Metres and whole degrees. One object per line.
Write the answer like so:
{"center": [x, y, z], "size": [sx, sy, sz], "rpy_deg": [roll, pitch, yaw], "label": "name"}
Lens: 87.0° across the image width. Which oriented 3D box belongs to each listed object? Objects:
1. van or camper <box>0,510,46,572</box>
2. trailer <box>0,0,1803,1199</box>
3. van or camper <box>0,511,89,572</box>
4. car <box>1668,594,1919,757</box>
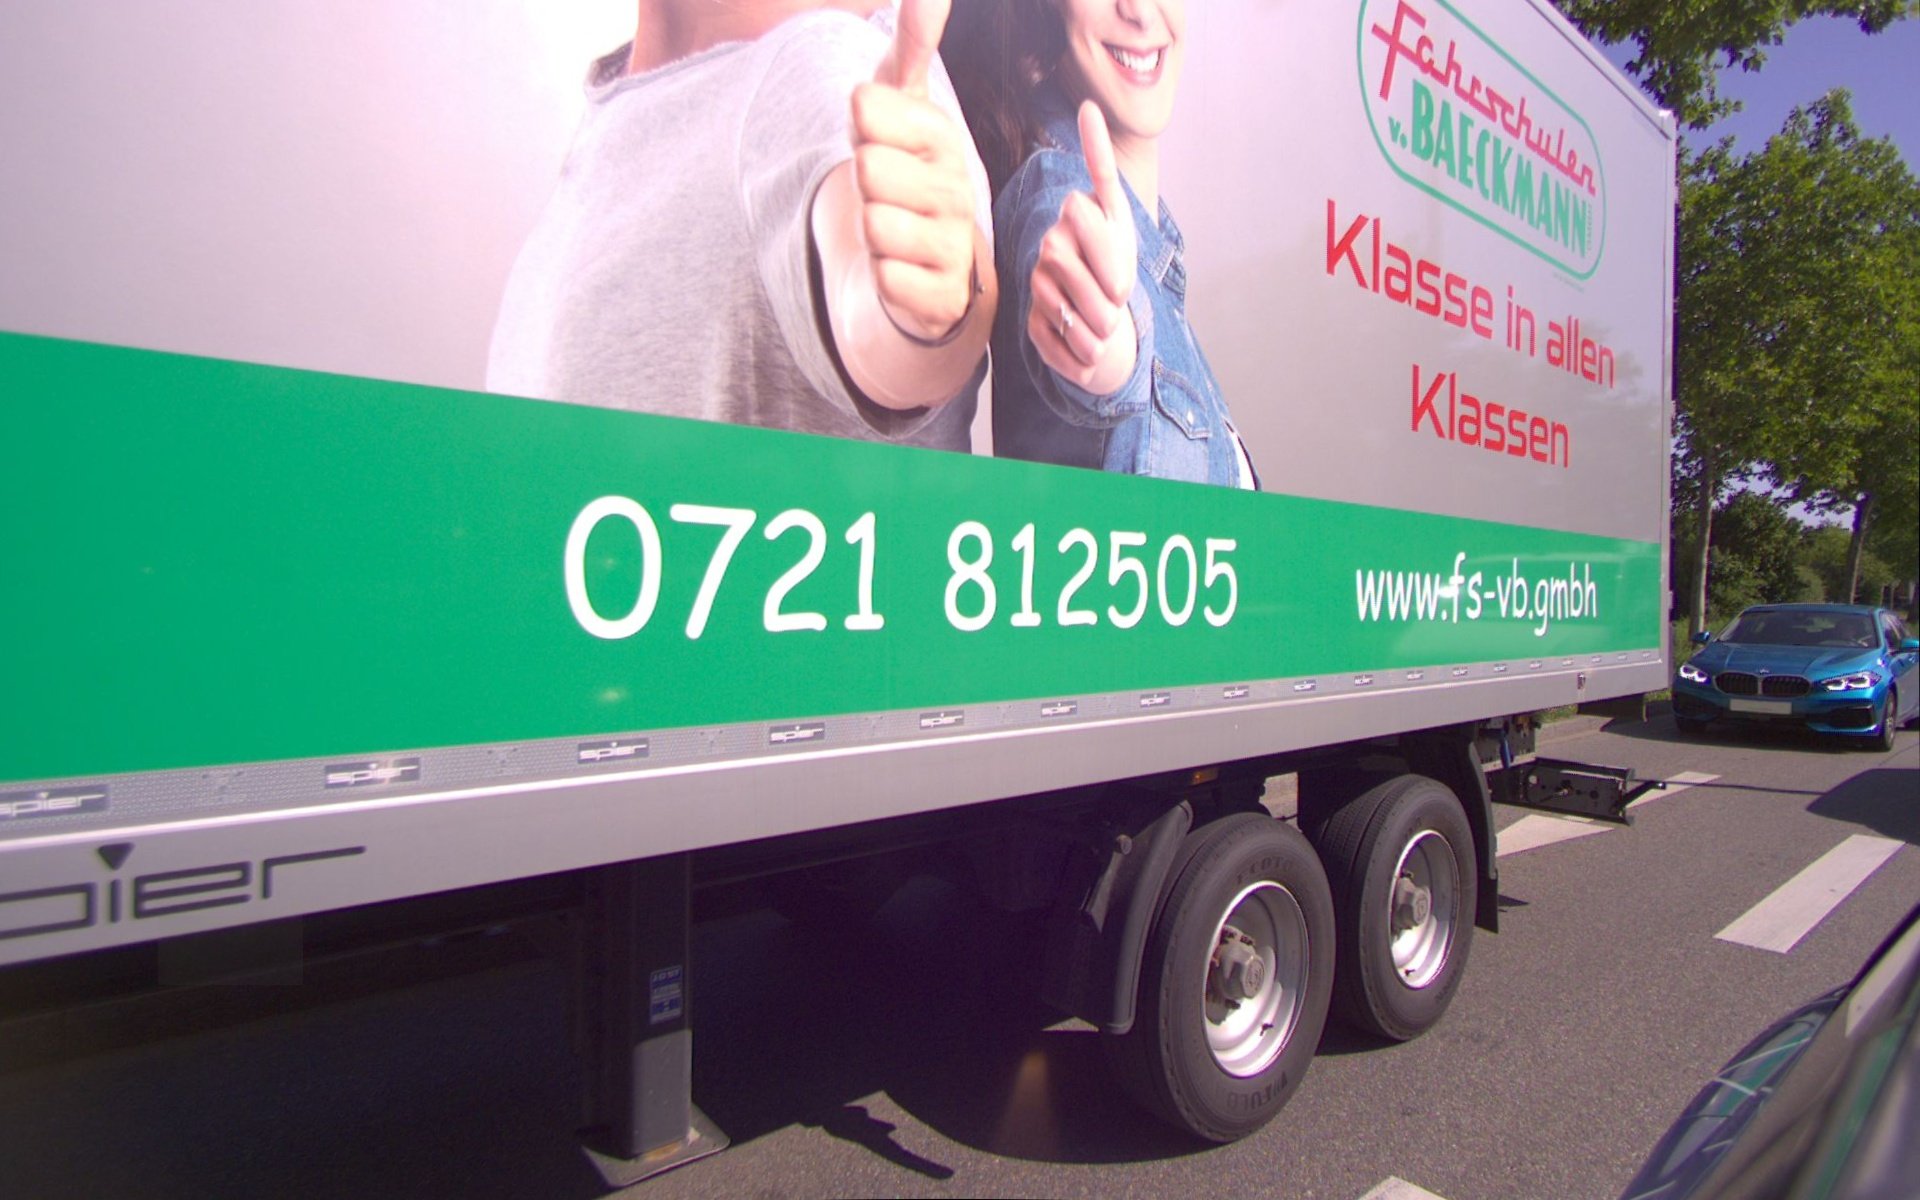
{"center": [-48.776, -2.926, 48.670], "size": [1.971, 2.979, 7.253], "rpy_deg": [0, 0, 15], "label": "van or camper"}
{"center": [0.020, -0.695, 3.336], "size": [7.596, 3.925, 2.743], "rpy_deg": [-1, 2, -39], "label": "trailer"}
{"center": [-45.345, -2.734, 47.257], "size": [1.971, 2.739, 7.253], "rpy_deg": [0, 0, 15], "label": "van or camper"}
{"center": [9.654, 0.681, 11.337], "size": [4.058, 1.437, 1.871], "rpy_deg": [0, 2, -41], "label": "car"}
